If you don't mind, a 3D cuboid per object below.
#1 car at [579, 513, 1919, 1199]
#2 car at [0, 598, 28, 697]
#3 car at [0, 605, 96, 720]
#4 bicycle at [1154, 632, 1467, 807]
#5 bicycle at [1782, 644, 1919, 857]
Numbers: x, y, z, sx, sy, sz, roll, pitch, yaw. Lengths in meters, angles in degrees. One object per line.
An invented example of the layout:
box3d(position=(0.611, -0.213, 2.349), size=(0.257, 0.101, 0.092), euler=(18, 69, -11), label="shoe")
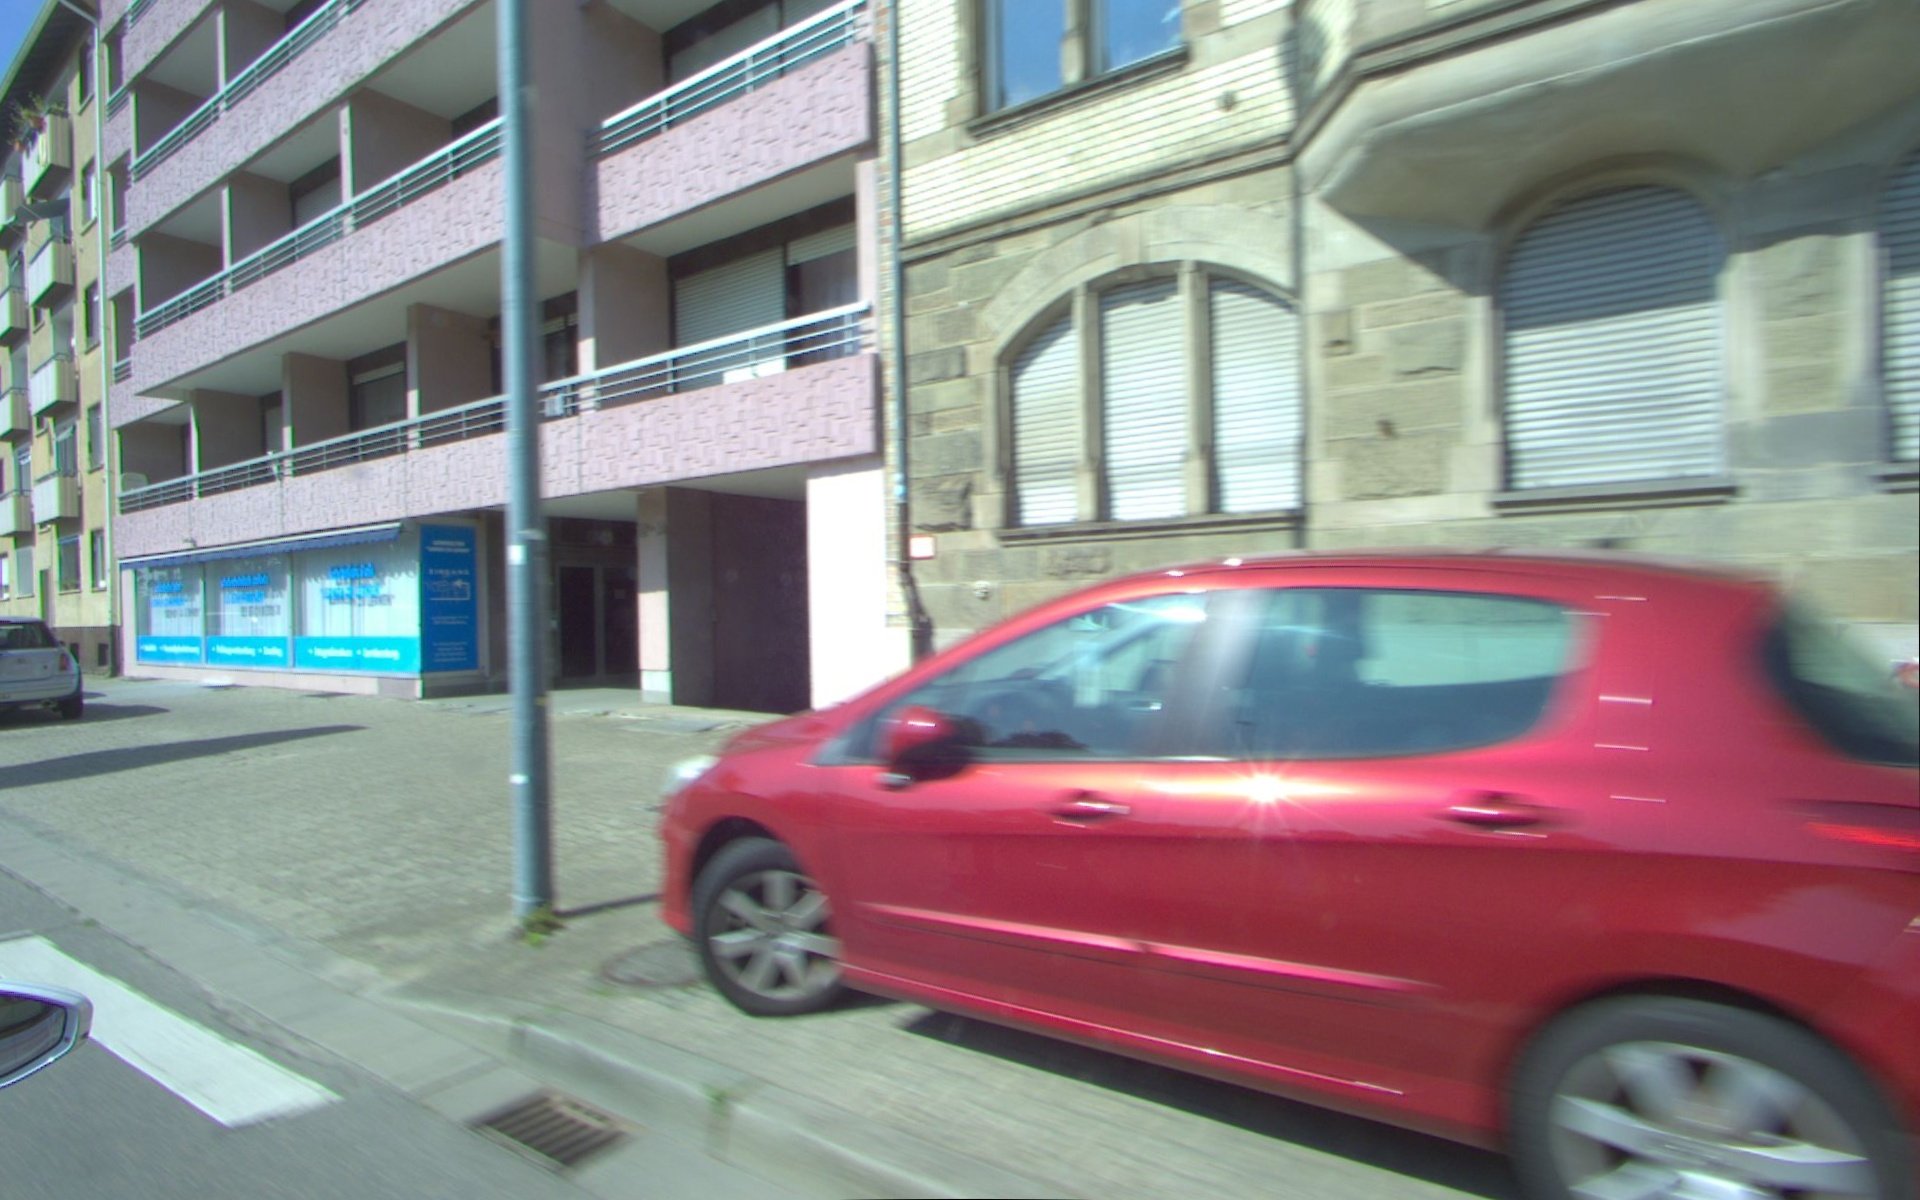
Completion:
box3d(position=(0.732, 0.612, 3.313), size=(3.946, 1.502, 1.779), euler=(-1, 1, 35), label="car")
box3d(position=(-17.275, 0.787, 16.818), size=(4.300, 1.562, 1.729), euler=(-1, 1, 38), label="car")
box3d(position=(-13.547, 0.835, 13.950), size=(3.389, 1.428, 1.670), euler=(-1, 2, 39), label="car")
box3d(position=(2.268, 0.717, 6.594), size=(1.840, 0.983, 0.648), euler=(-1, 1, 36), label="bicycle")
box3d(position=(4.984, 0.725, 4.756), size=(1.631, 0.983, 0.506), euler=(-1, 1, 36), label="bicycle")
